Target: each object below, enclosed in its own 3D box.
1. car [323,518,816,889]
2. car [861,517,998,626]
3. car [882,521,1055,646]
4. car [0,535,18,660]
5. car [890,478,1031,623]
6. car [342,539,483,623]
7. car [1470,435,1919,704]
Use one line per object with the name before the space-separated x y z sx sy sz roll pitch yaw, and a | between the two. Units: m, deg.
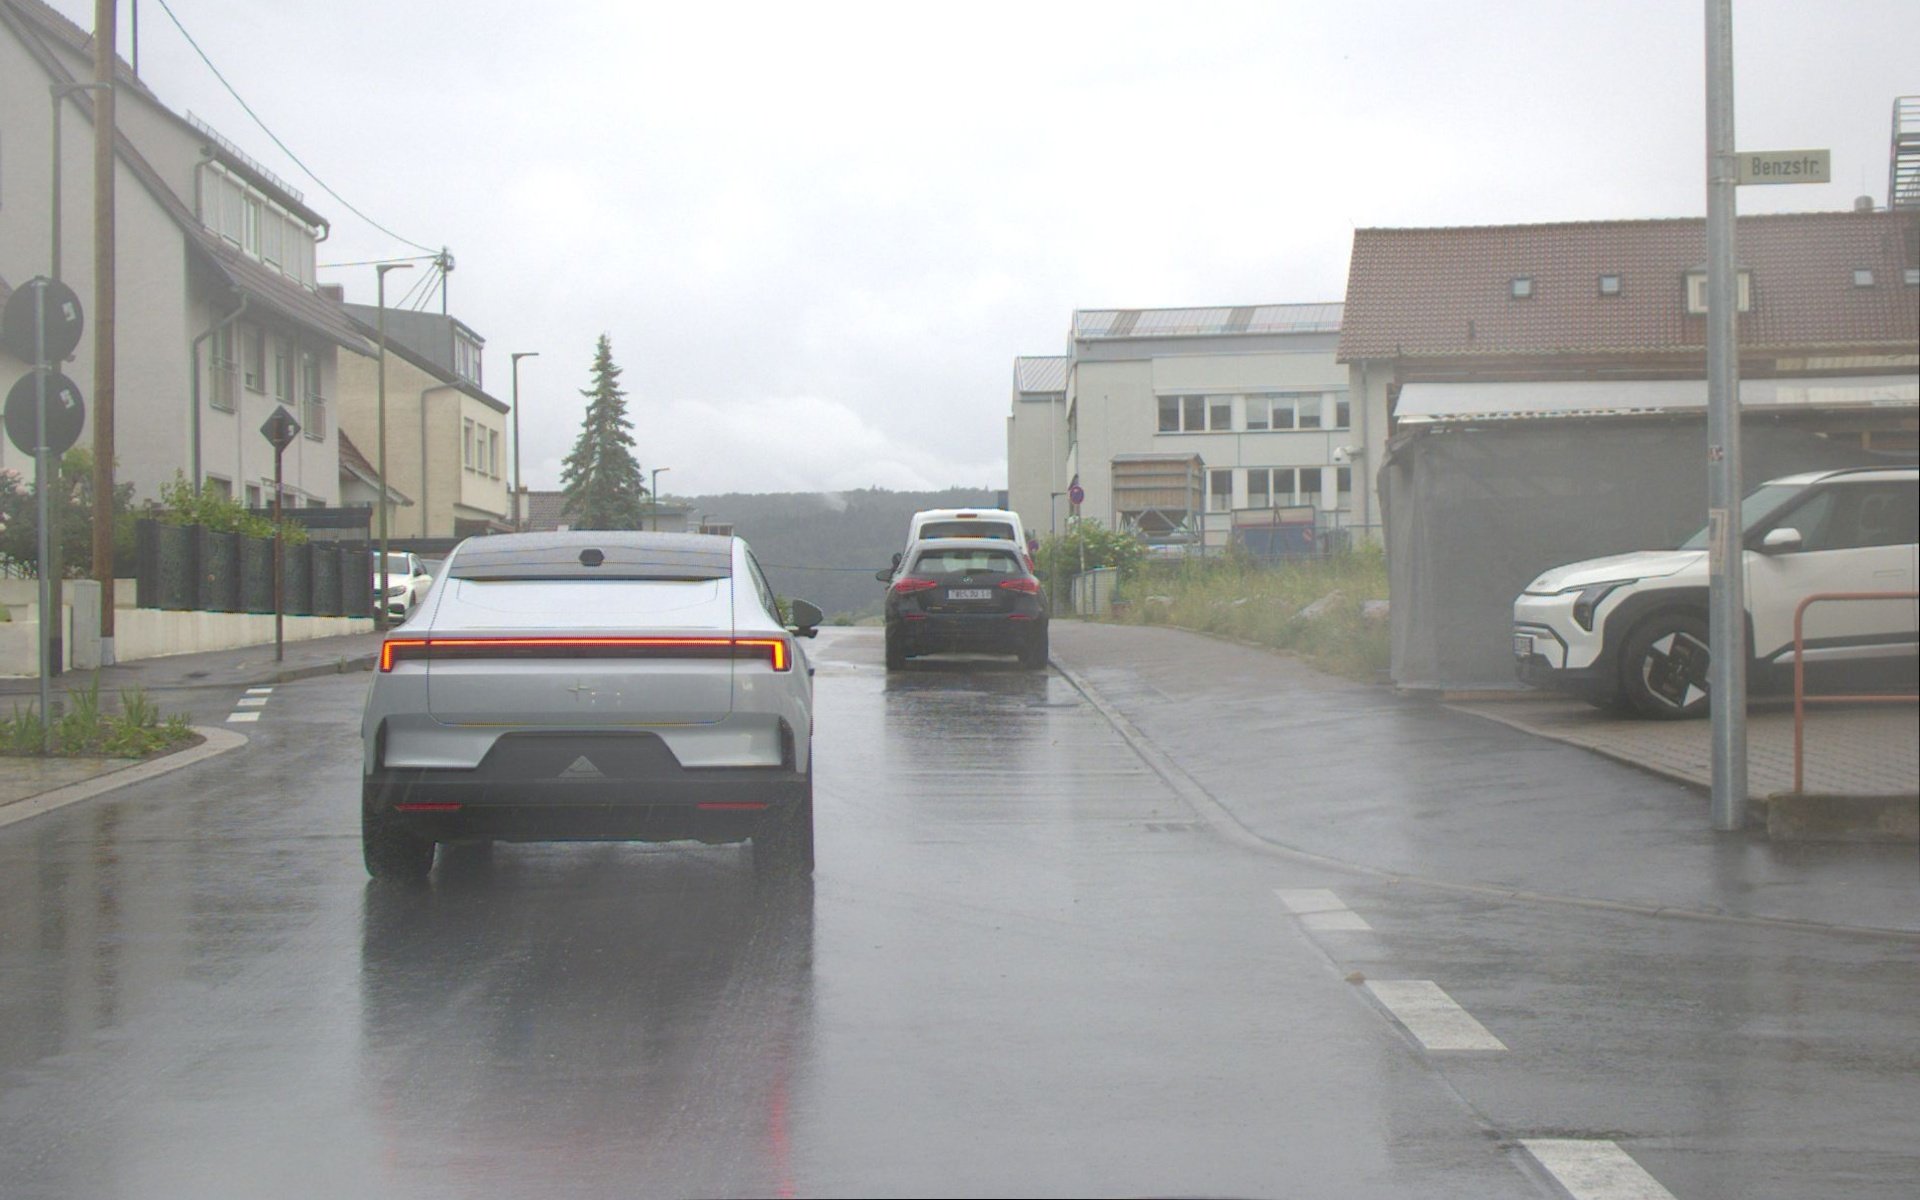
car | -1.688 0.407 16.334 1.993 1.497 4.670 0 0 -2
car | -0.505 -0.425 52.080 1.642 1.569 4.644 0 0 -6
car | 0.045 -0.187 38.907 1.768 1.331 4.321 0 0 -2
car | -12.057 -0.035 39.043 1.778 1.462 3.457 0 -1 0
car | -0.037 -0.632 45.693 1.768 1.819 4.574 0 0 -1
car | -10.730 -0.365 67.699 1.993 1.505 4.895 3 0 -1
car | 5.686 -0.226 22.828 4.216 1.604 1.861 -2 0 -2
